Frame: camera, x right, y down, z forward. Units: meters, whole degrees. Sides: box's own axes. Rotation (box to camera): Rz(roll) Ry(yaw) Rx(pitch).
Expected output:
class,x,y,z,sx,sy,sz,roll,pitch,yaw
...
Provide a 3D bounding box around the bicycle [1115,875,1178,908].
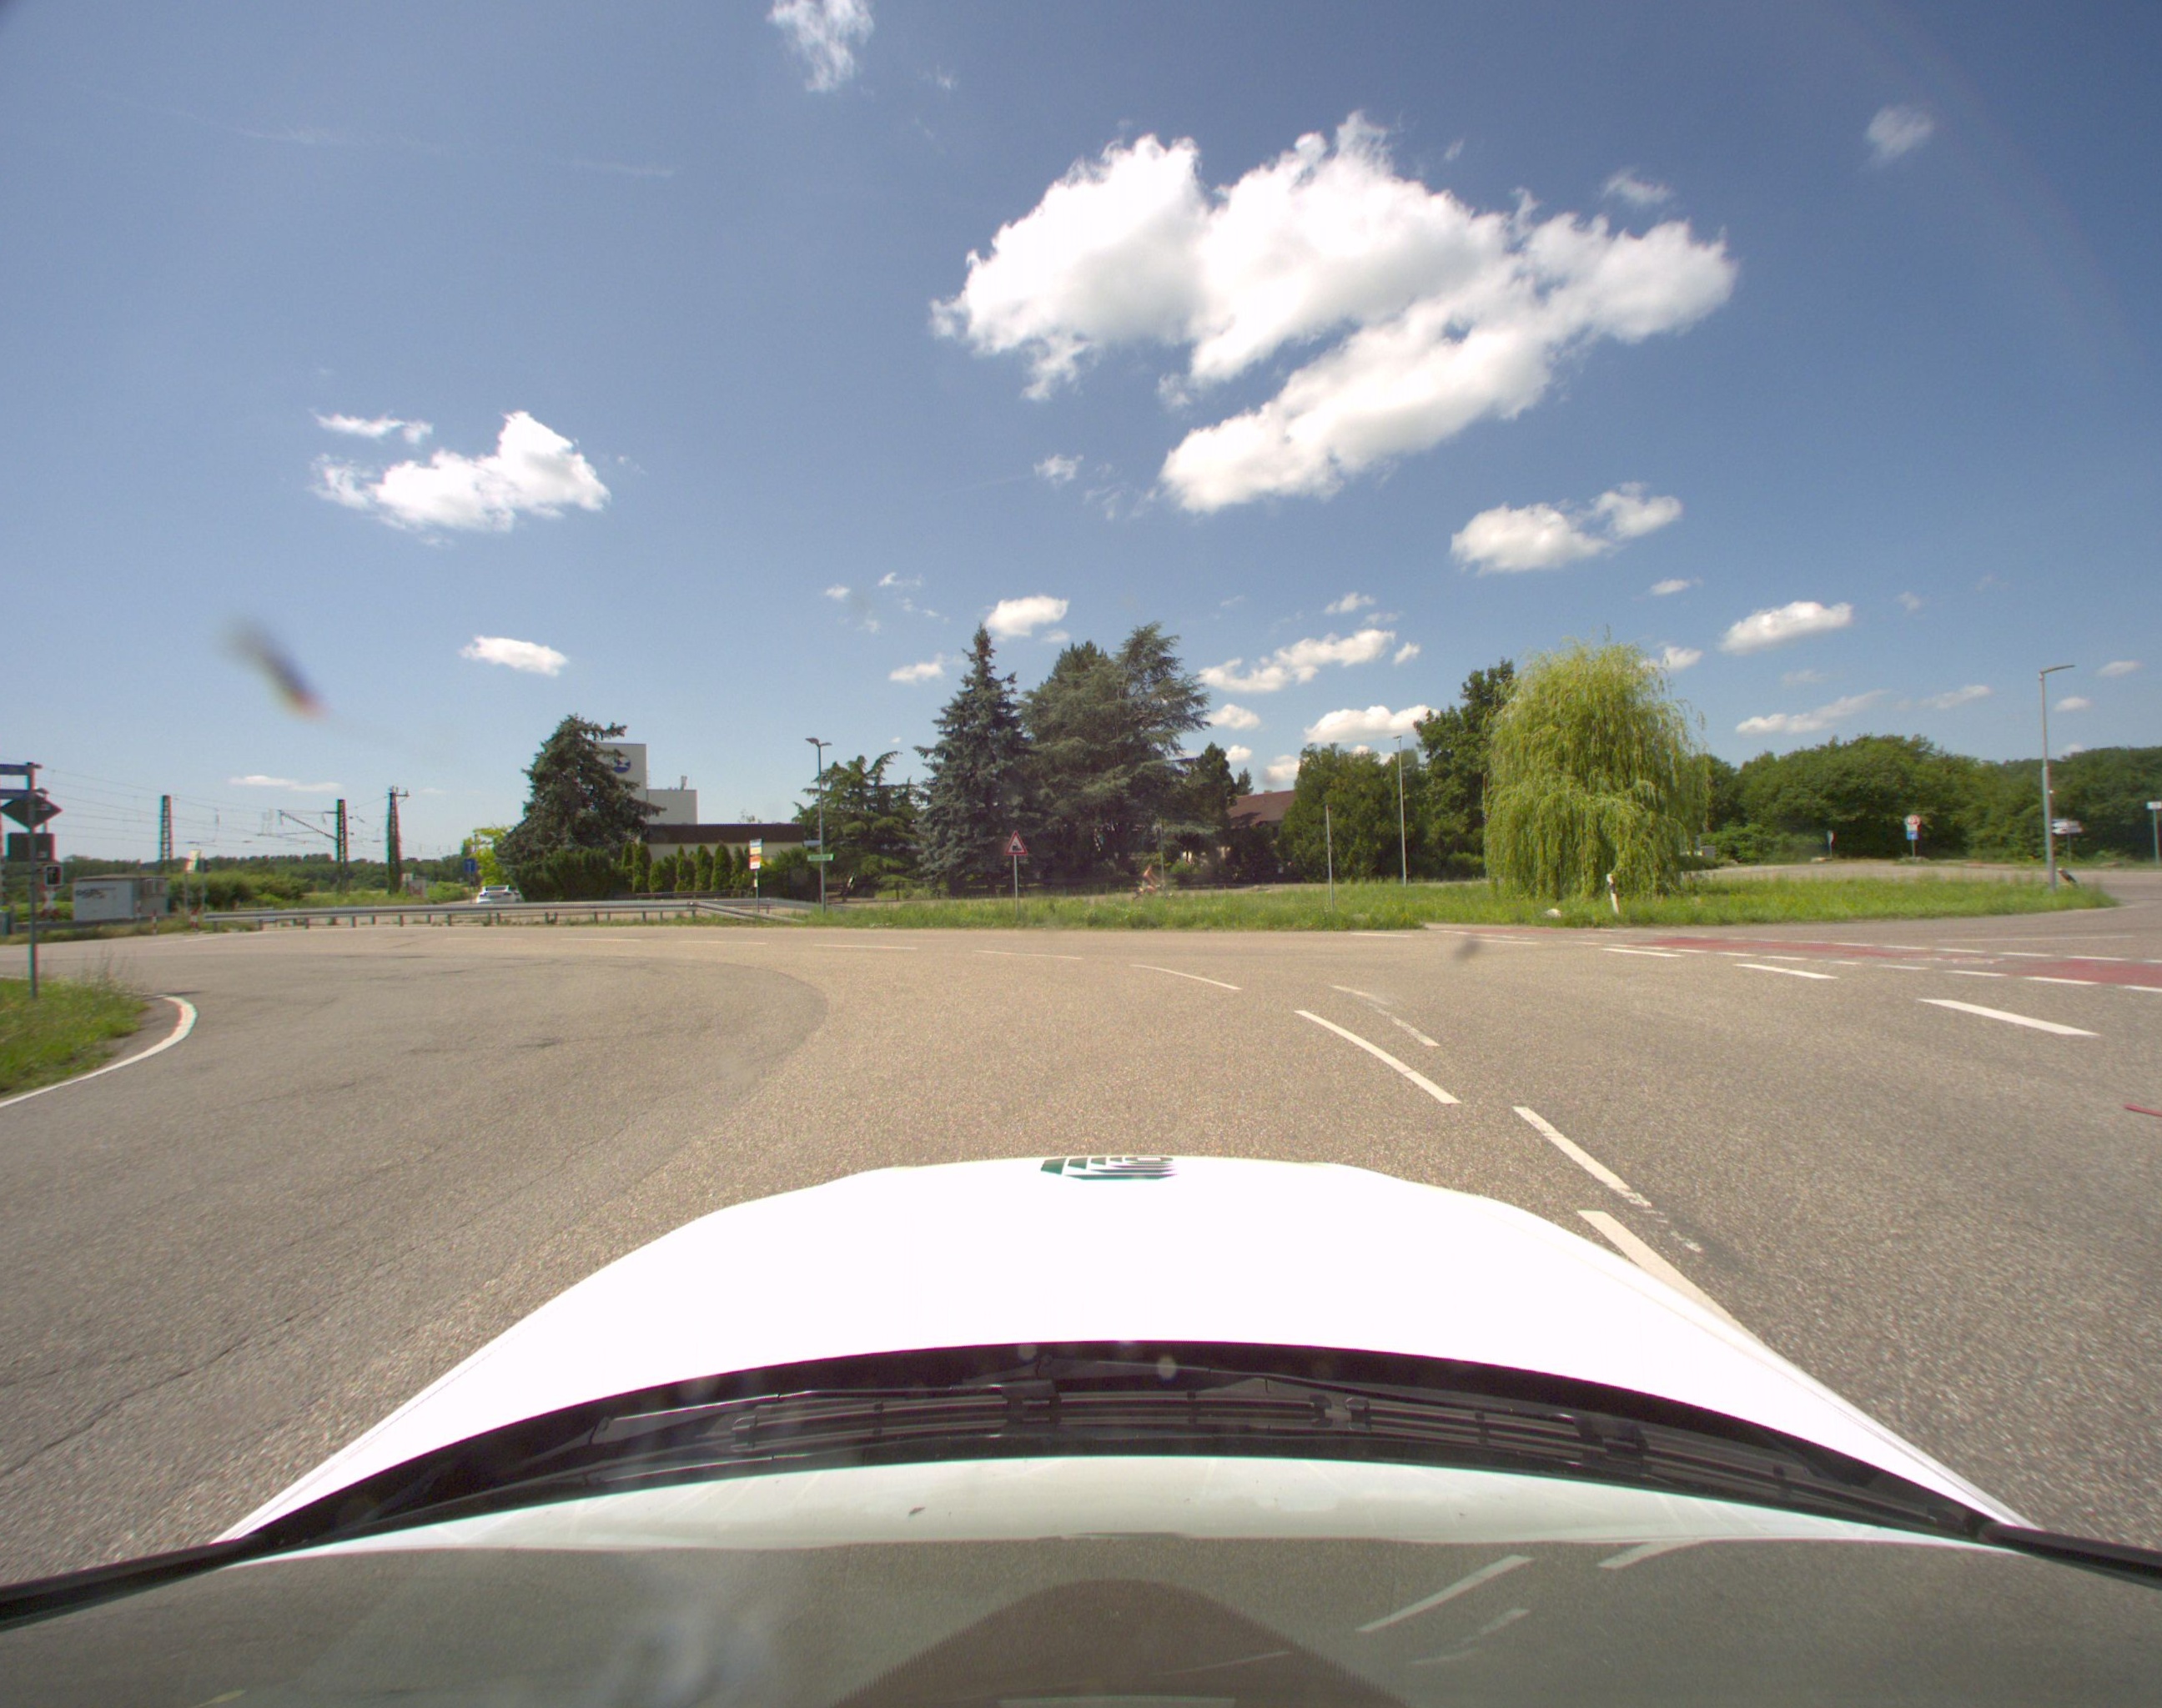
class,x,y,z,sx,sy,sz,roll,pitch,yaw
bicycle,2.369,1.361,29.495,2.119,1.165,0.665,-2,-1,26

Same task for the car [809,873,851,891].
class,x,y,z,sx,sy,sz,roll,pitch,yaw
car,-23.947,2.646,77.730,3.548,1.585,1.550,-1,-1,-32

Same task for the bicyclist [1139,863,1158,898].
class,x,y,z,sx,sy,sz,roll,pitch,yaw
bicyclist,2.445,0.966,29.457,0.505,1.255,0.472,-2,-1,25

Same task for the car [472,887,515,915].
class,x,y,z,sx,sy,sz,roll,pitch,yaw
car,-36.285,2.870,50.383,2.008,1.510,4.407,-1,-1,-34
